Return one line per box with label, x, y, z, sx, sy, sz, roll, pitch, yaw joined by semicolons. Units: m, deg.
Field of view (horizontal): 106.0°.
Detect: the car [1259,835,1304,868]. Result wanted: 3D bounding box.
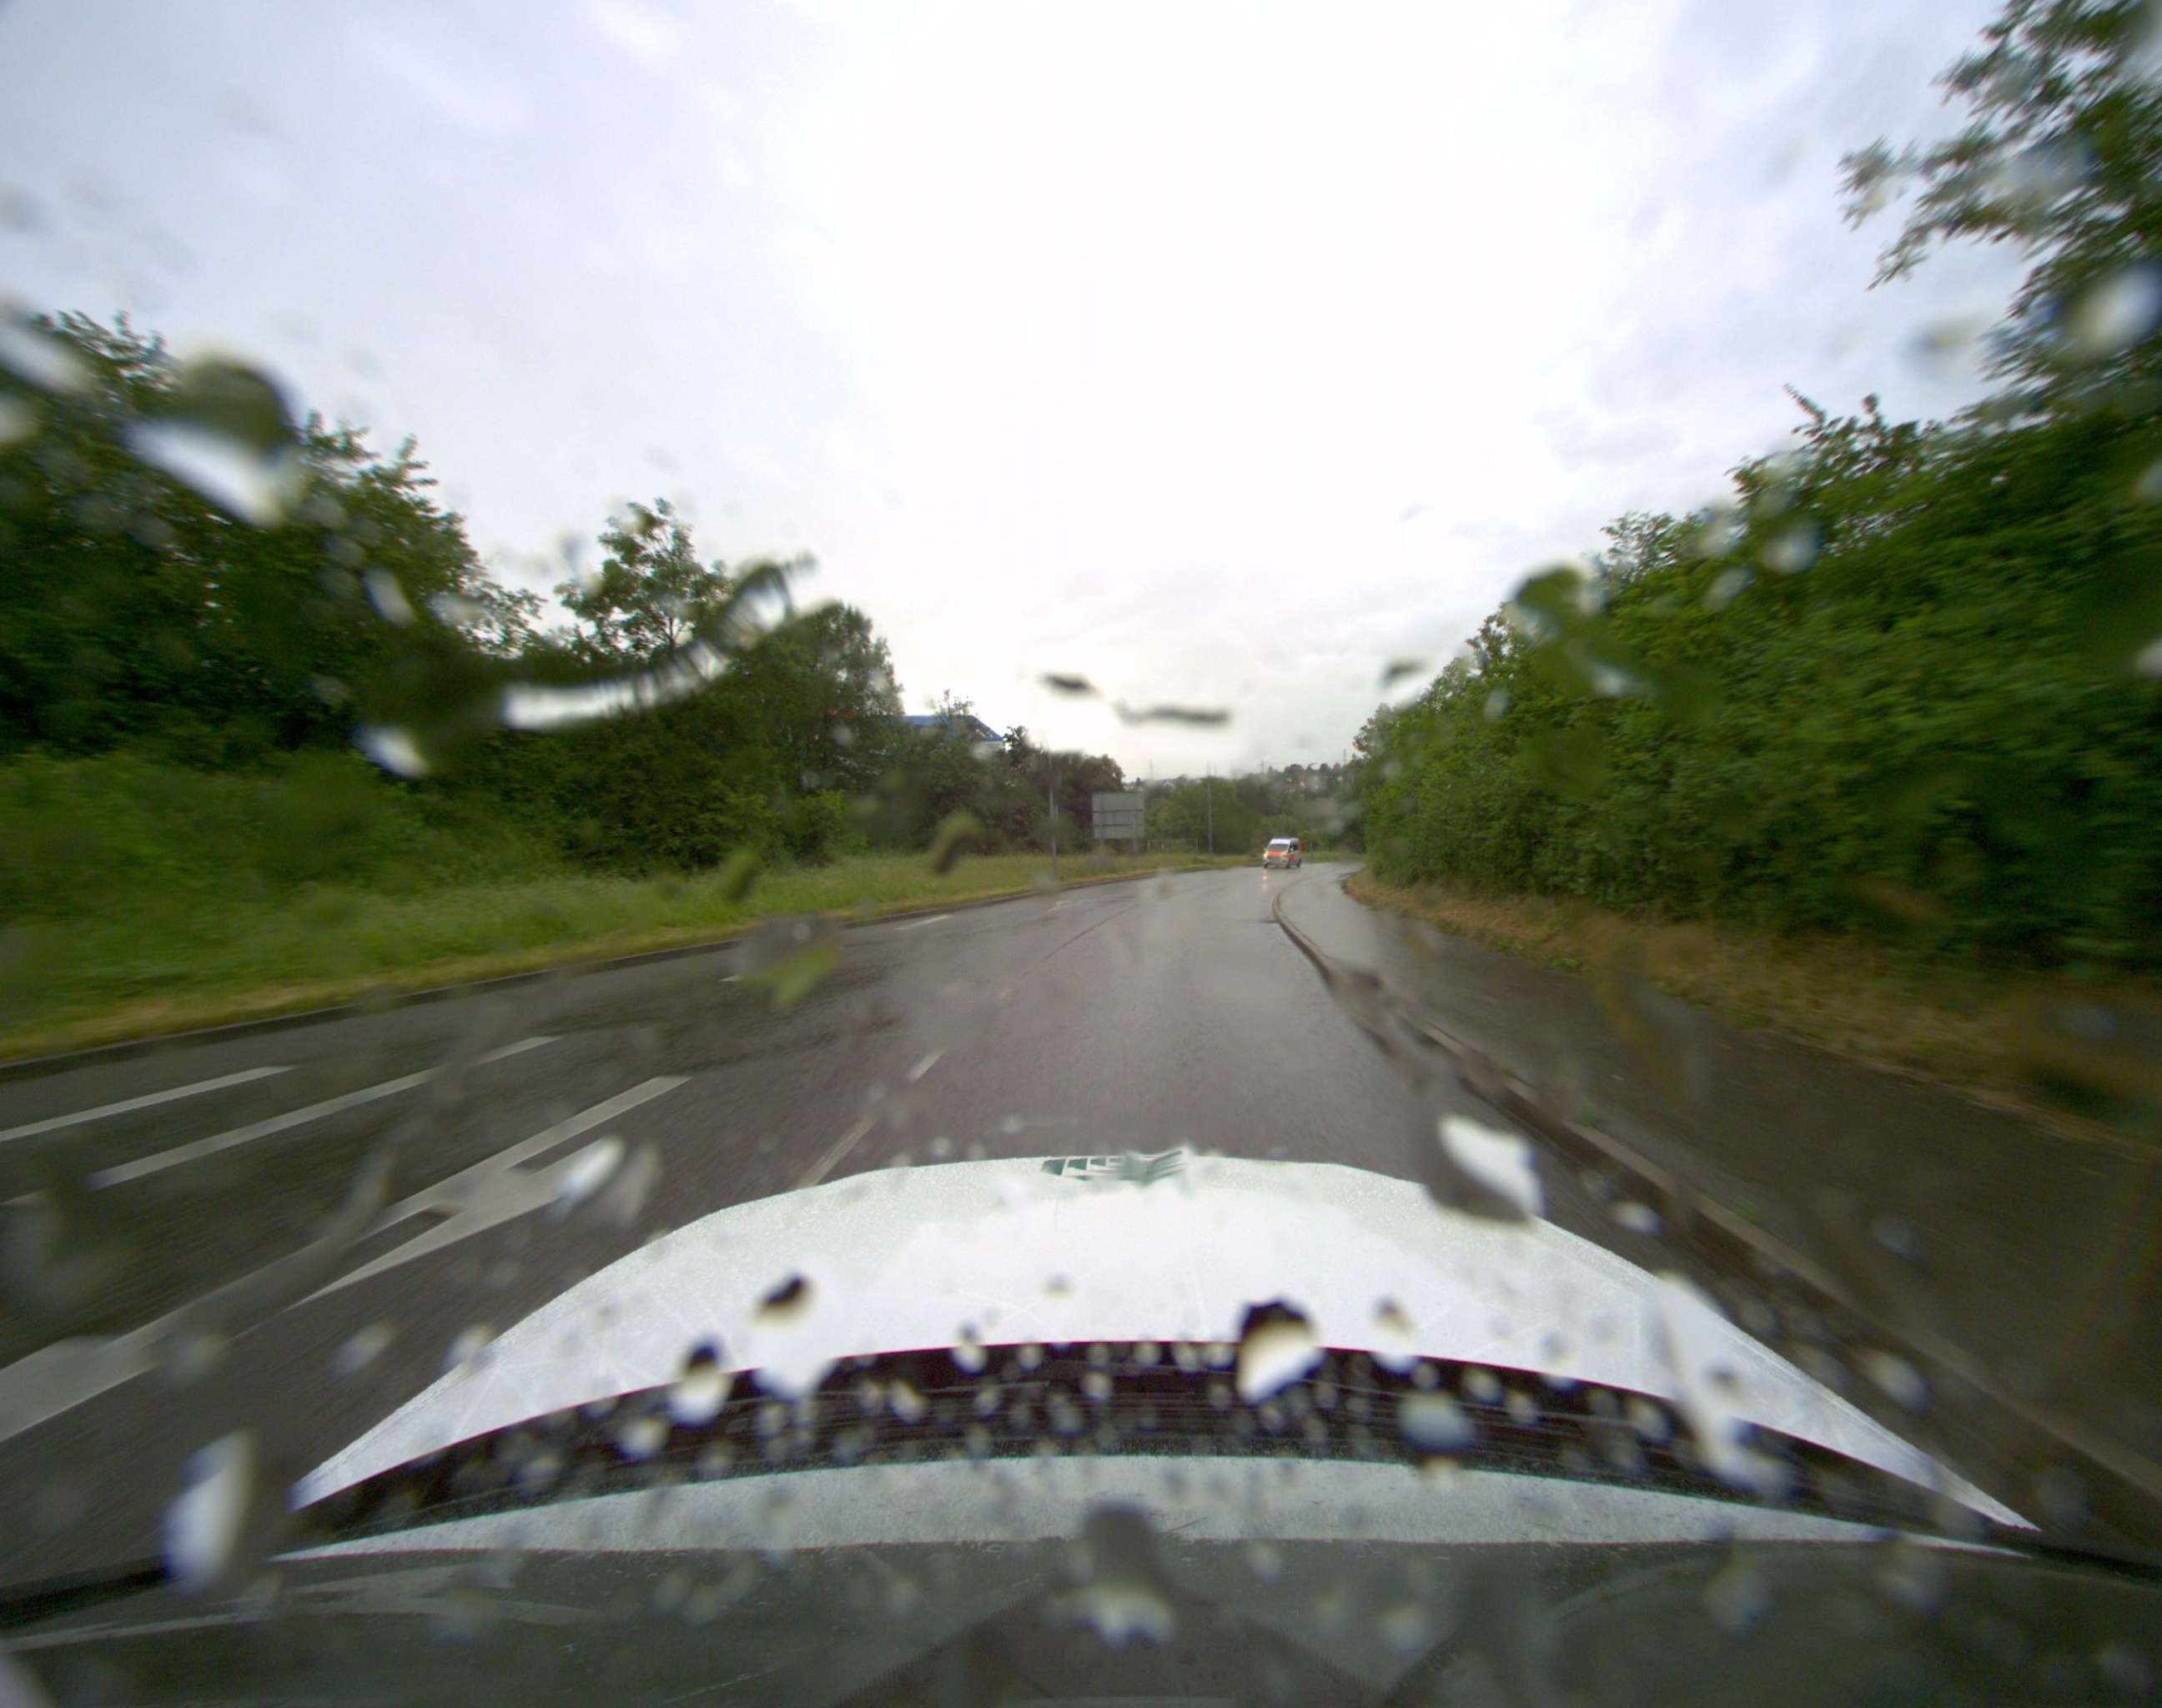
car;15.728;-0.196;63.687;2.025;2.417;5.489;2;1;29
